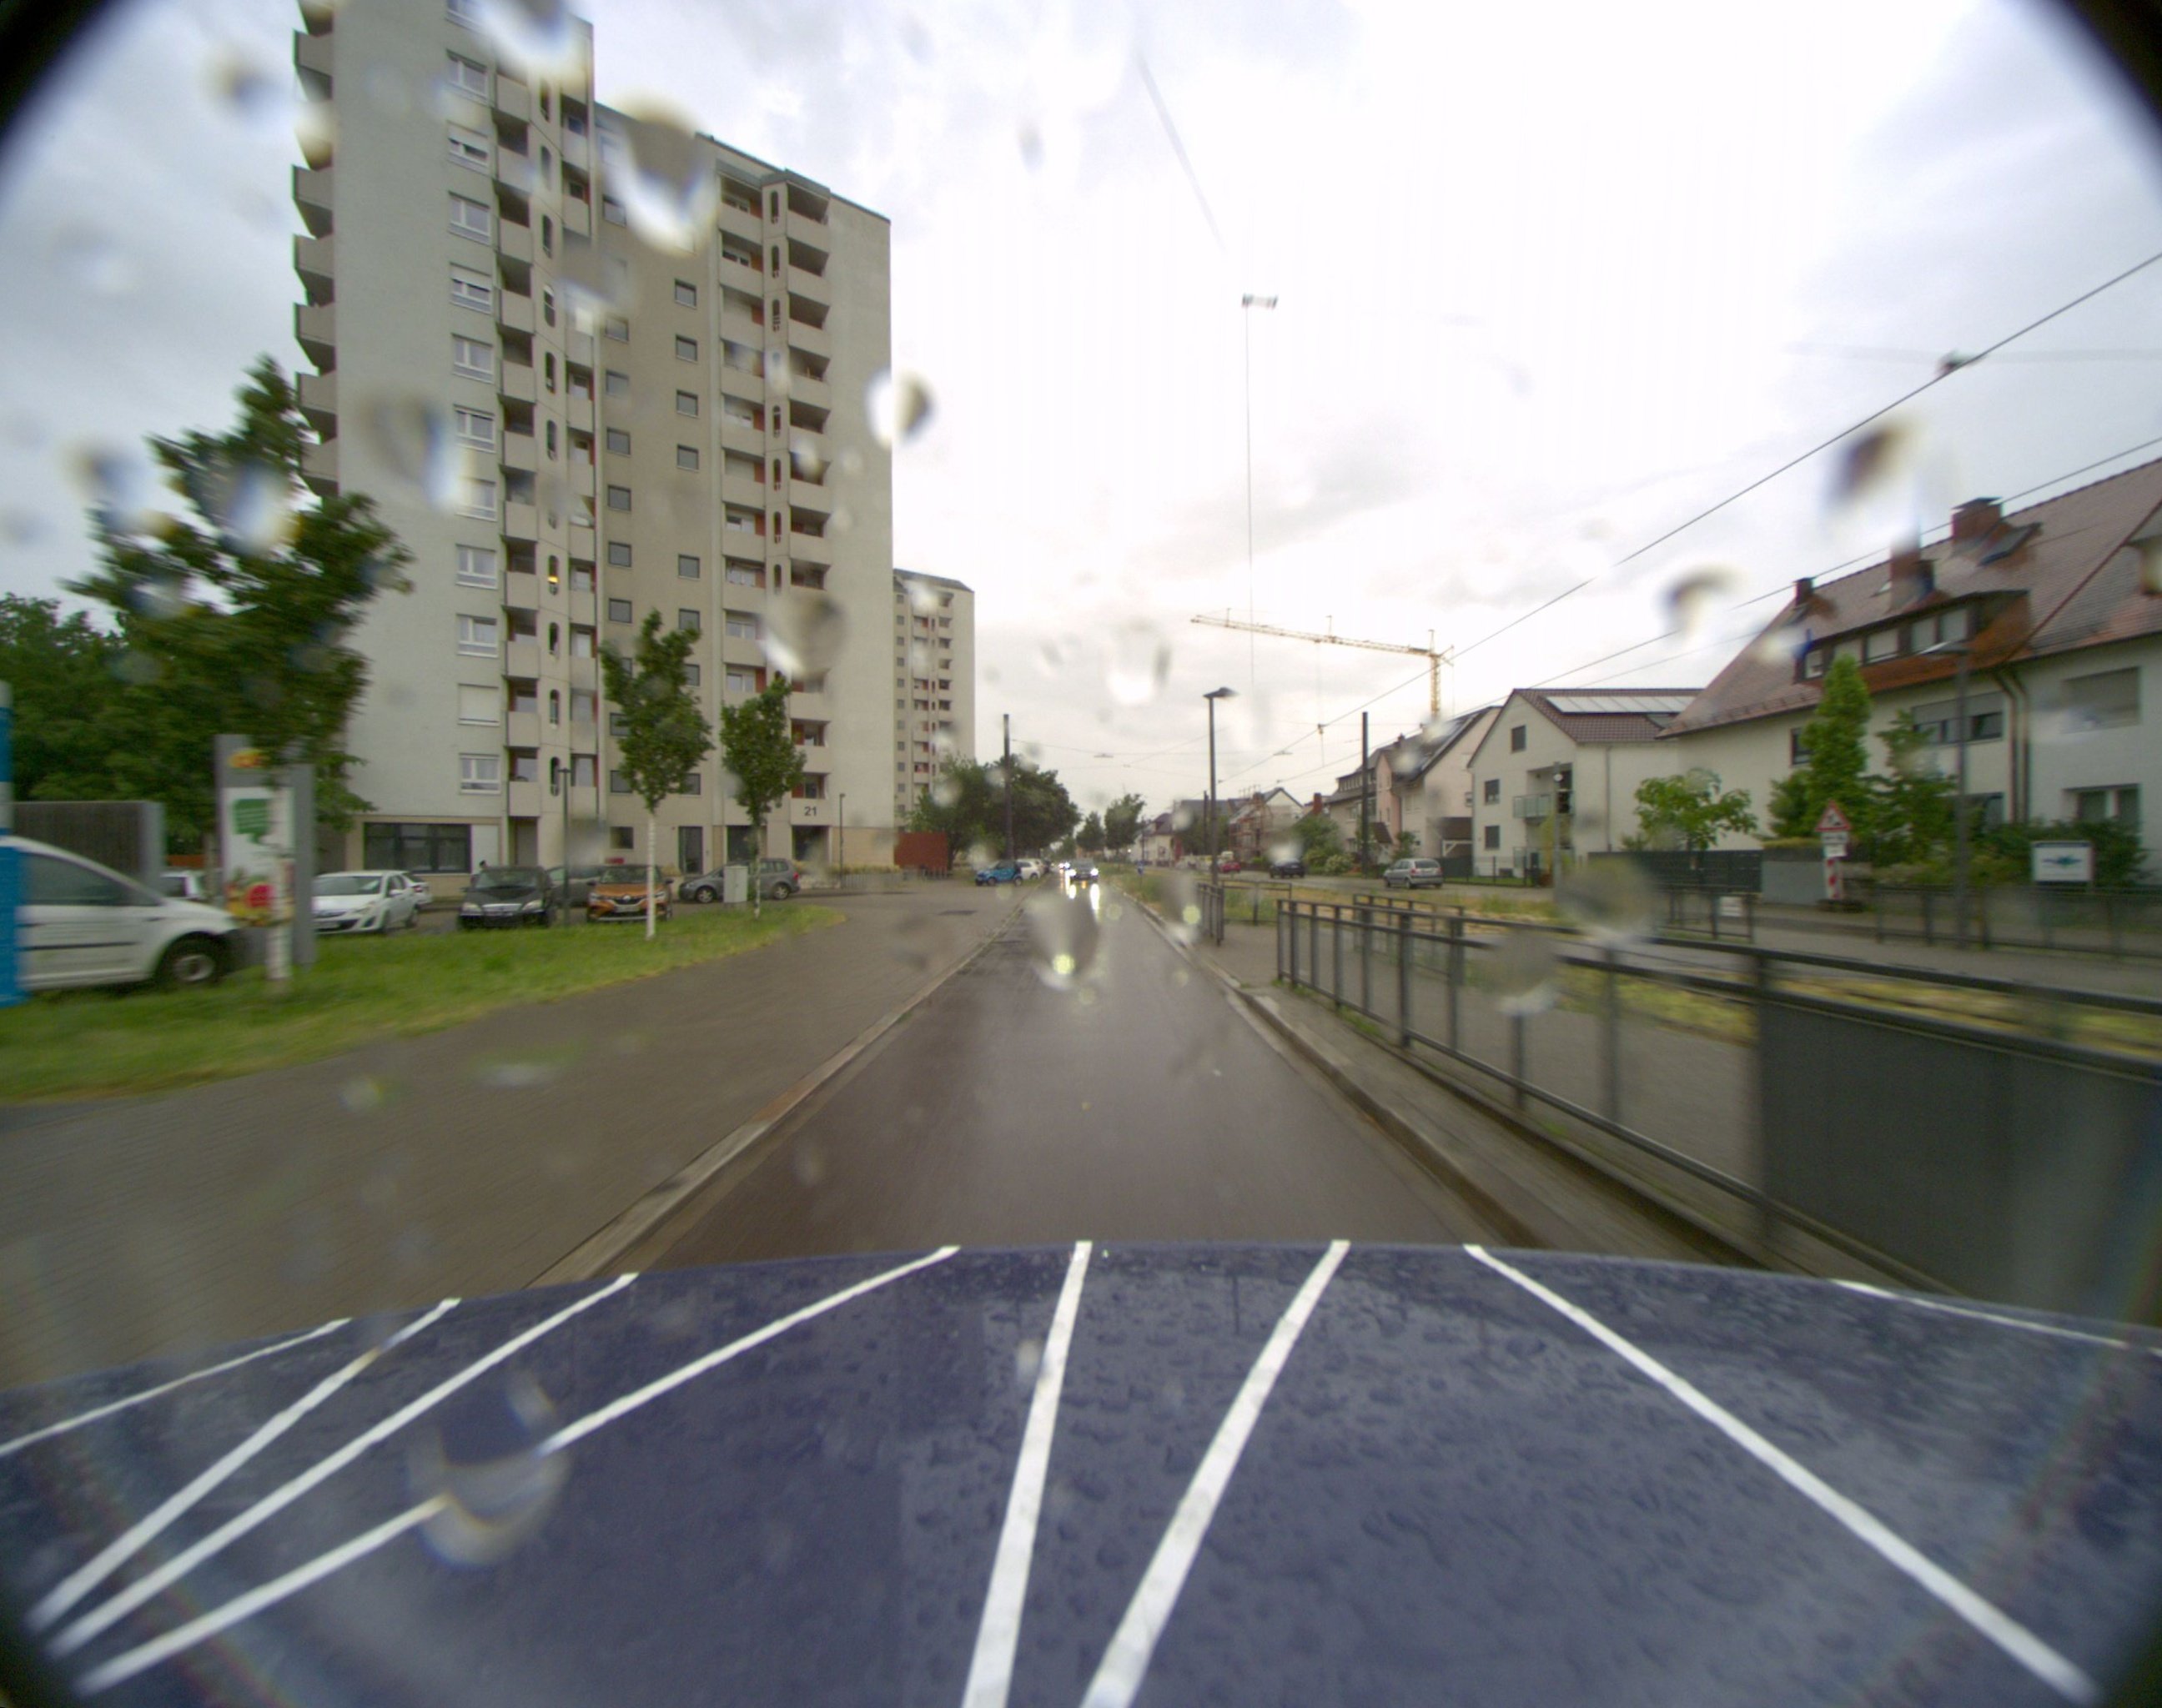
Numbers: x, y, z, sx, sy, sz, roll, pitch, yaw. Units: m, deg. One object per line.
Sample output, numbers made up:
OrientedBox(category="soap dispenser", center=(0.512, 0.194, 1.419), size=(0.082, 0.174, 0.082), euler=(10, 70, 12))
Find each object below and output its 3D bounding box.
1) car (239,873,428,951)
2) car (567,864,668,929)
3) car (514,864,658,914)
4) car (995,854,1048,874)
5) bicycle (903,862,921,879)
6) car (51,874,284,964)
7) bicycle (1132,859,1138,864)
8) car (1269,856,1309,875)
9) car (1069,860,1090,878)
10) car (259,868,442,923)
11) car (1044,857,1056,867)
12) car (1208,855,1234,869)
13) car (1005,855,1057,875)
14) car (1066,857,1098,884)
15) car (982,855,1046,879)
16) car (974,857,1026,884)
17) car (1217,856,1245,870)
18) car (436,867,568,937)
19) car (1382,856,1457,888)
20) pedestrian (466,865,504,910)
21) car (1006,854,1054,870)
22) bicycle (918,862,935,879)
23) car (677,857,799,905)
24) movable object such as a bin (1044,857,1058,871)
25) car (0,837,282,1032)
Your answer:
OrientedBox(category="car", center=(-17.066, 1.230, 17.631), size=(2.003, 1.433, 3.991), euler=(-2, 1, -28))
OrientedBox(category="car", center=(-12.190, 1.041, 20.245), size=(2.003, 1.433, 3.991), euler=(-2, 1, -28))
OrientedBox(category="car", center=(-17.522, 1.193, 27.121), size=(4.119, 1.524, 1.811), euler=(-2, 0, -30))
OrientedBox(category="car", center=(-5.326, 0.913, 68.573), size=(4.471, 1.661, 1.808), euler=(3, -2, -39))
OrientedBox(category="bicycle", center=(-10.913, 1.079, 49.172), size=(0.663, 1.000, 2.058), euler=(-1, 1, 0))
OrientedBox(category="car", center=(-19.060, 1.249, 16.152), size=(1.973, 1.577, 4.353), euler=(-1, -1, -34))
OrientedBox(category="bicycle", center=(11.797, 1.683, 166.237), size=(0.937, 1.037, 3.433), euler=(0, 0, -3))
OrientedBox(category="car", center=(16.262, 0.883, 59.640), size=(1.841, 1.418, 4.174), euler=(-1, -1, -2))
OrientedBox(category="car", center=(-0.154, 1.529, 78.325), size=(1.998, 1.762, 3.999), euler=(-1, 1, 0))
OrientedBox(category="car", center=(-22.849, 1.260, 23.978), size=(3.803, 1.466, 1.811), euler=(-2, 0, -30))
OrientedBox(category="car", center=(-5.553, 1.469, 135.846), size=(1.998, 1.696, 3.999), euler=(-1, 1, 0))
OrientedBox(category="car", center=(15.830, 0.916, 86.045), size=(1.999, 1.401, 4.174), euler=(-1, -1, -2))
OrientedBox(category="car", center=(-4.339, 0.961, 66.317), size=(4.195, 1.661, 1.680), euler=(3, -1, -37))
OrientedBox(category="car", center=(0.035, 1.069, 50.086), size=(1.999, 1.611, 3.999), euler=(-1, 1, -1))
OrientedBox(category="car", center=(-4.733, 0.955, 54.001), size=(4.195, 1.538, 1.760), euler=(3, -2, -40))
OrientedBox(category="car", center=(-4.732, 0.941, 44.562), size=(2.570, 1.539, 1.598), euler=(0, 1, -40))
OrientedBox(category="car", center=(15.896, 0.899, 80.621), size=(1.999, 1.365, 3.842), euler=(-1, 1, -2))
OrientedBox(category="car", center=(-14.527, 1.115, 19.322), size=(2.003, 1.433, 3.991), euler=(-2, 1, -28))
OrientedBox(category="car", center=(16.770, 0.855, 37.883), size=(1.999, 1.405, 3.657), euler=(-1, 1, -2))
OrientedBox(category="pedestrian", center=(-21.264, 1.178, 27.128), size=(0.839, 1.509, 1.092), euler=(-2, 1, -29))
OrientedBox(category="car", center=(-5.006, 0.815, 75.179), size=(4.470, 1.419, 1.680), euler=(3, -1, -34))
OrientedBox(category="bicycle", center=(-9.978, 1.031, 49.107), size=(0.663, 1.000, 2.058), euler=(-1, 1, 0))
OrientedBox(category="car", center=(-13.334, 1.019, 29.567), size=(4.119, 1.607, 1.811), euler=(-2, 0, -30))
OrientedBox(category="movable object such as a bin", center=(-3.577, 1.168, 91.090), size=(1.165, 1.553, 1.372), euler=(-2, 1, -24))
OrientedBox(category="car", center=(-10.835, 0.756, 6.835), size=(1.968, 1.773, 4.898), euler=(-1, -1, 3))
